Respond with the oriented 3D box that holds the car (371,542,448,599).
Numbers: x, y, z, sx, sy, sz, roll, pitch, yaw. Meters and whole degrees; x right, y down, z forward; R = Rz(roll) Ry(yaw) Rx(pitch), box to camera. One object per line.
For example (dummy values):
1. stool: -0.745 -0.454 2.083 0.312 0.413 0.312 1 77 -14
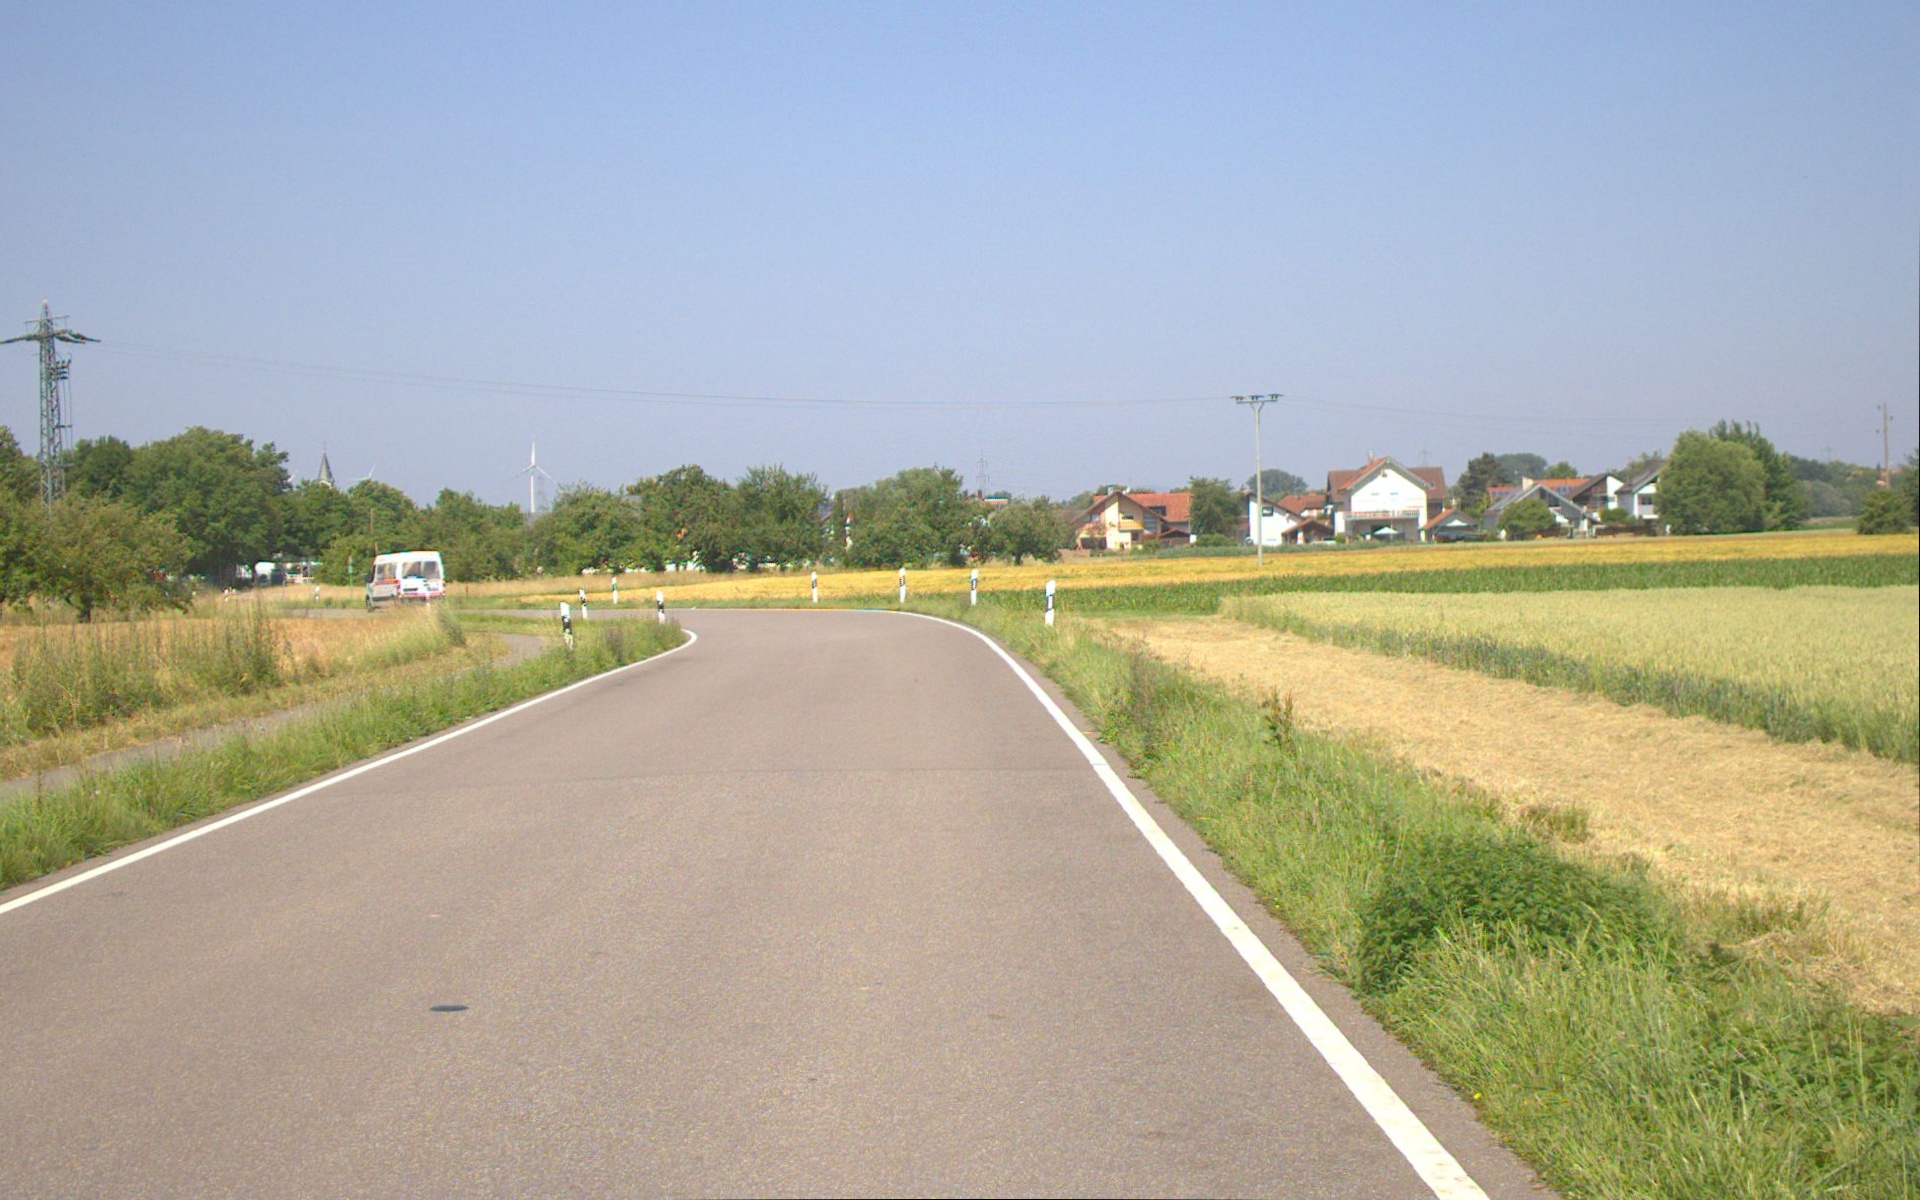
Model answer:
1. car: -22.769 -1.206 142.085 1.993 2.258 4.727 -2 1 -23
